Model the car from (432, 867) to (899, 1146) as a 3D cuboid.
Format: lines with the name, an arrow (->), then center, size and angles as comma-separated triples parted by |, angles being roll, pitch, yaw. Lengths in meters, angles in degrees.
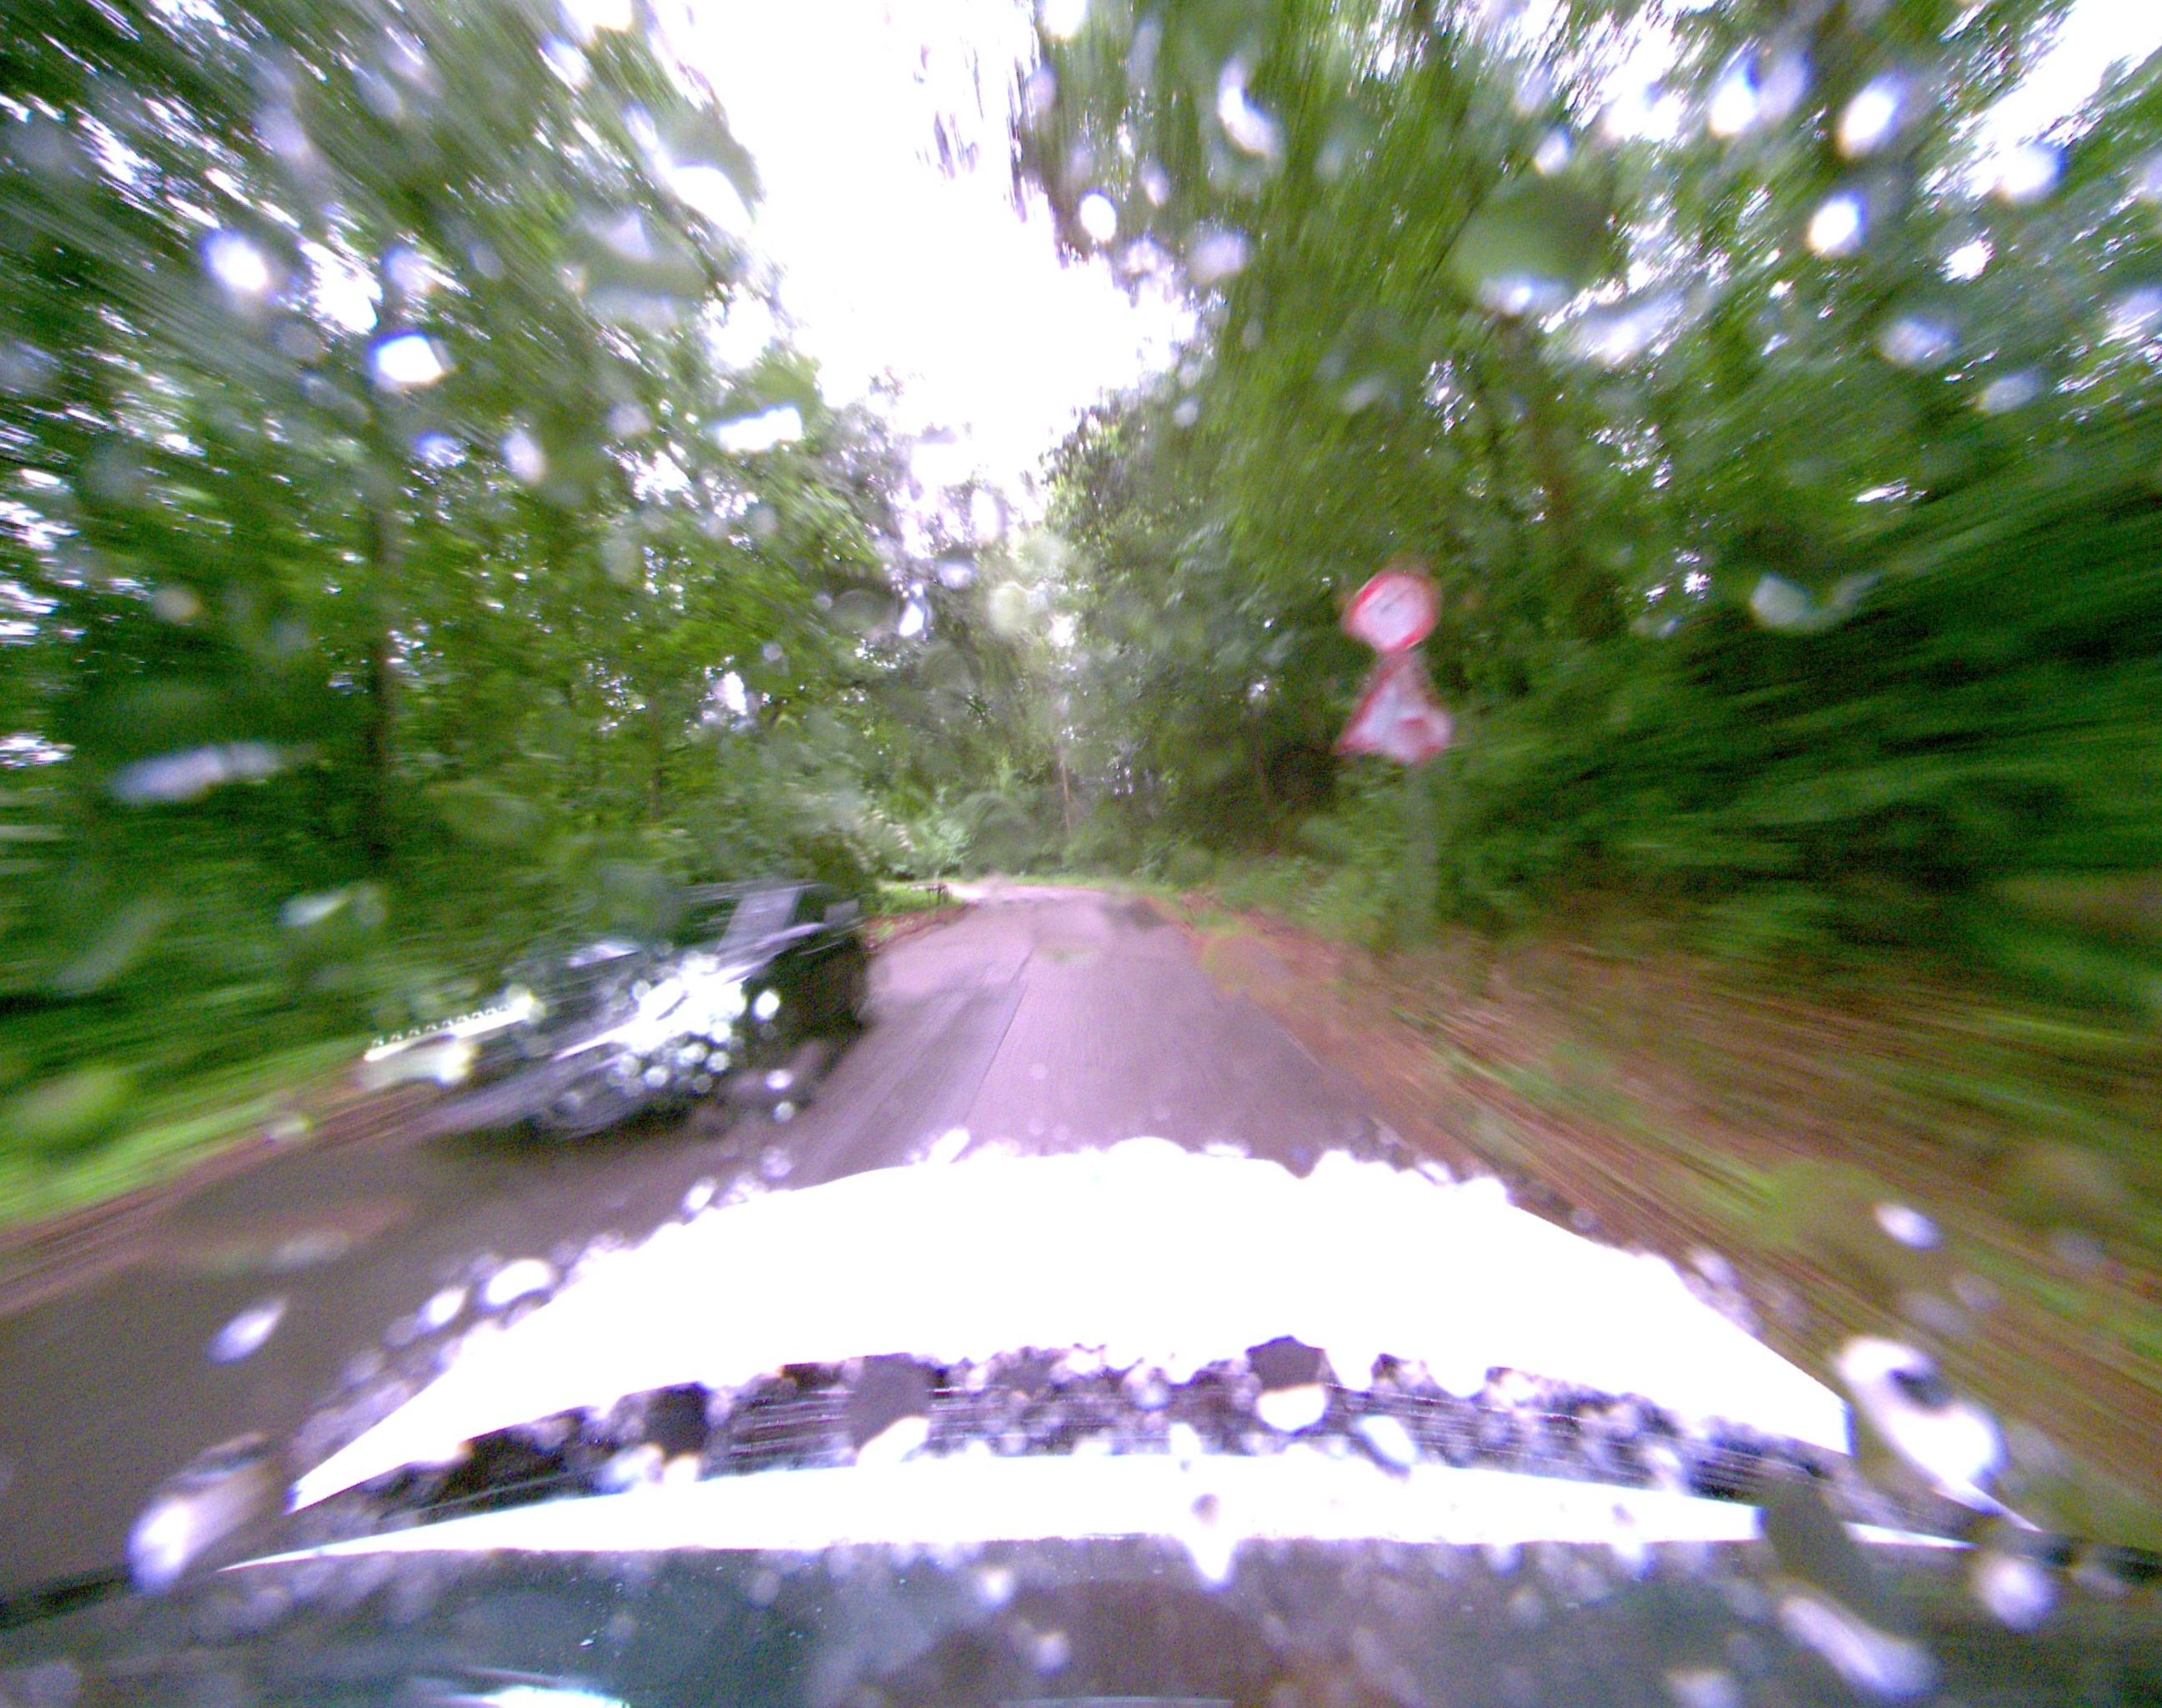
car -> -2.928, 0.948, 6.819 | 1.707, 1.475, 3.892 | -5, 0, 2
